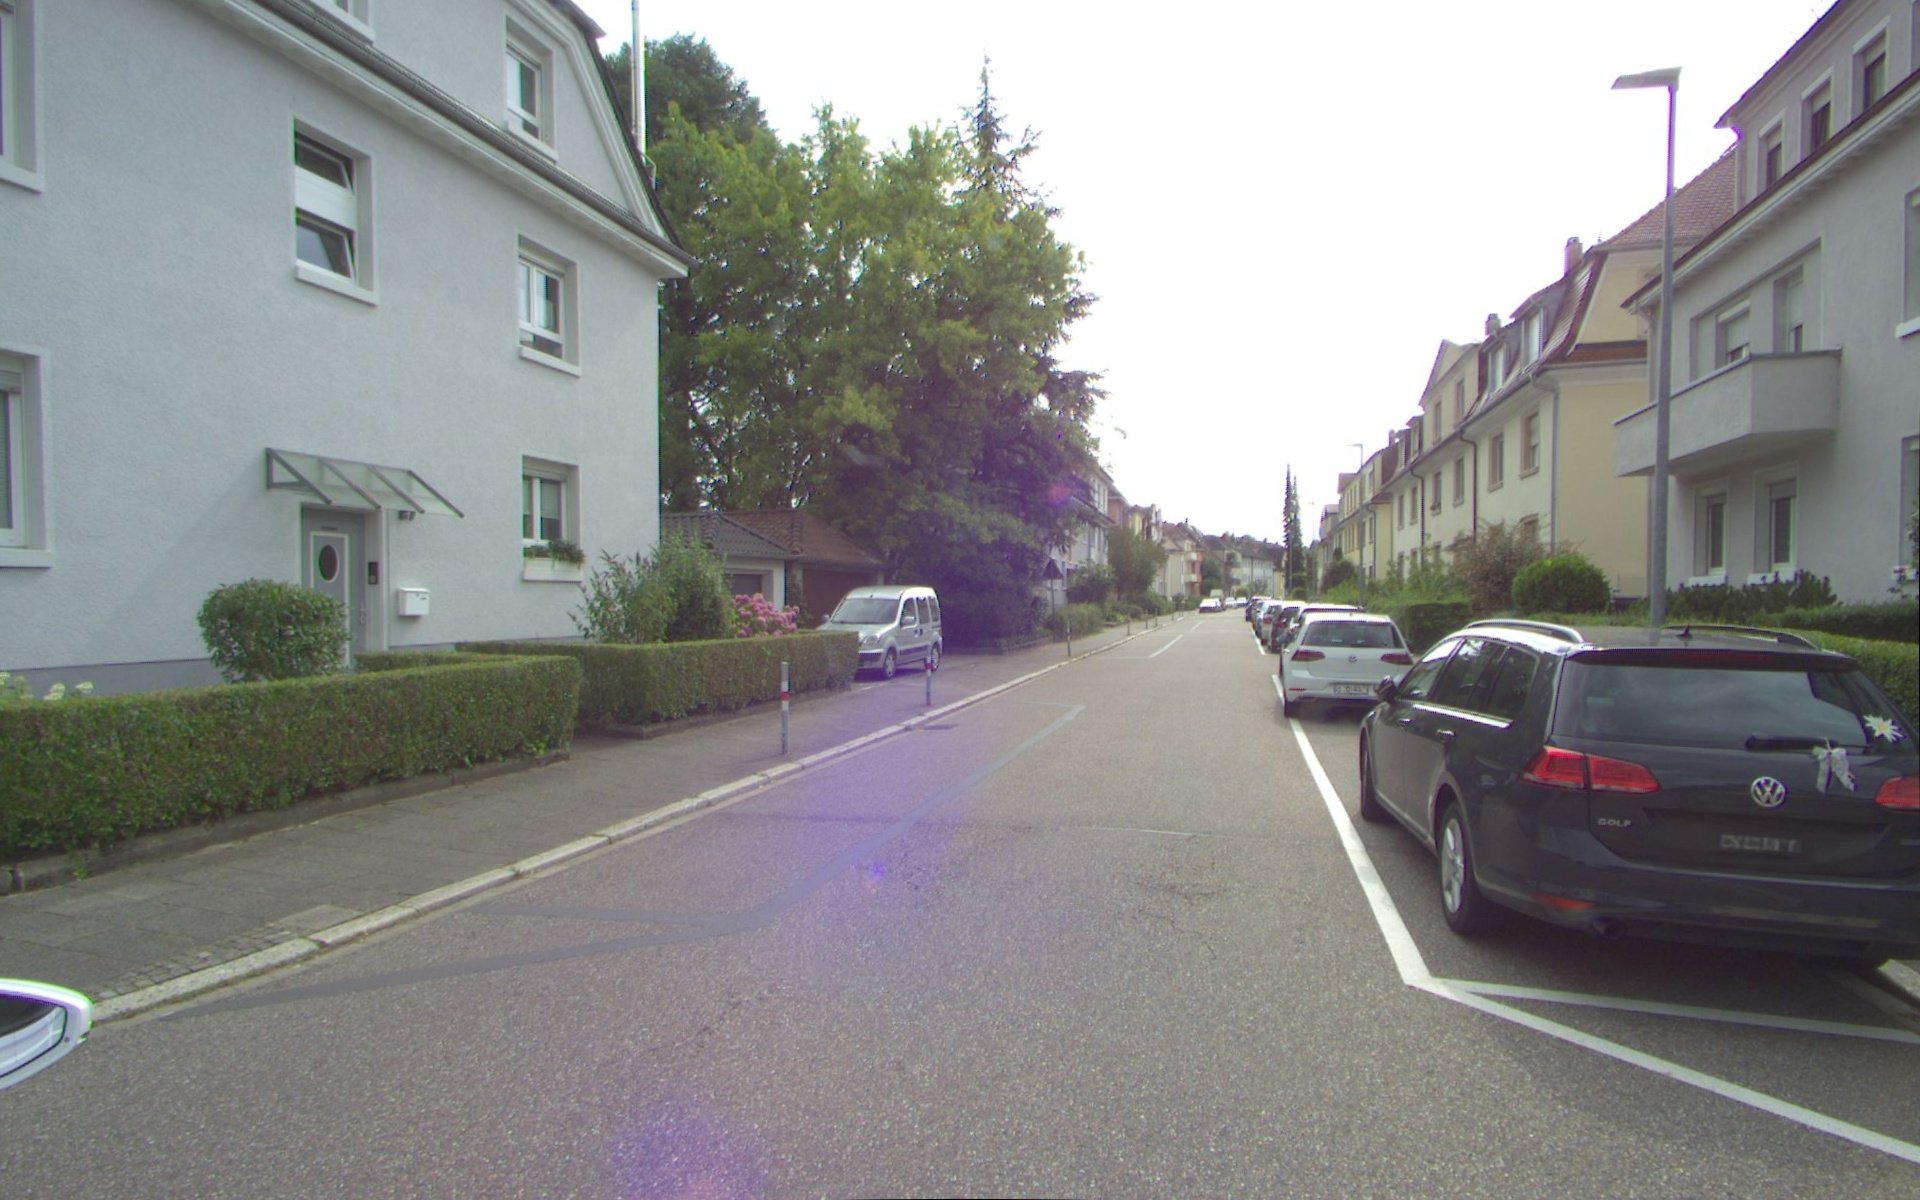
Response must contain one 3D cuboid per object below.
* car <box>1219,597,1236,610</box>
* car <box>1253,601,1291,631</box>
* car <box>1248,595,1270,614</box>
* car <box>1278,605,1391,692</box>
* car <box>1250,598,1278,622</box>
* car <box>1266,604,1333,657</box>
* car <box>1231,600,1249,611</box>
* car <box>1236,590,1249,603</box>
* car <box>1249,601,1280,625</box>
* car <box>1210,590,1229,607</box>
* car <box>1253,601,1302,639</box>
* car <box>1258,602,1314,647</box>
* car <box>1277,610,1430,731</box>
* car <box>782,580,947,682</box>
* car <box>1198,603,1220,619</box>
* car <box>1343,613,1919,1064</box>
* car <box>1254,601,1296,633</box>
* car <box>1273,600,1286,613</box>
[{"bbox_3d":[36.427,0.472,136.120,1.965,1.662,3.992,0,0,19],"label":"car"},{"bbox_3d":[16.315,0.821,52.409,1.826,1.491,4.168,0,0,17],"label":"car"},{"bbox_3d":[26.180,0.364,87.795,1.826,1.599,4.169,0,0,16],"label":"car"},{"bbox_3d":[7.292,0.869,19.825,1.826,1.491,4.168,0,0,17],"label":"car"},{"bbox_3d":[21.055,0.647,69.331,1.826,1.599,4.168,0,0,17],"label":"car"},{"bbox_3d":[10.443,0.886,31.013,1.826,1.491,4.168,0,0,17],"label":"car"},{"bbox_3d":[41.690,0.804,149.112,1.967,1.556,3.987,-1,0,24],"label":"car"},{"bbox_3d":[50.028,-0.643,177.360,1.965,2.152,3.992,0,0,19],"label":"car"},{"bbox_3d":[19.553,0.786,64.235,1.826,1.491,4.168,0,0,17],"label":"car"},{"bbox_3d":[31.037,-0.158,119.878,1.964,2.040,3.993,0,0,18],"label":"car"},{"bbox_3d":[13.298,0.807,42.033,1.826,1.491,4.168,0,0,17],"label":"car"},{"bbox_3d":[11.774,0.837,36.293,1.826,1.491,4.168,0,0,17],"label":"car"},{"bbox_3d":[5.758,0.931,15.104,1.826,1.491,4.168,0,0,17],"label":"car"},{"bbox_3d":[-1.815,0.563,20.391,1.964,1.862,3.993,0,0,17],"label":"car"},{"bbox_3d":[27.041,1.214,108.634,1.965,1.662,3.992,0,0,19],"label":"car"},{"bbox_3d":[3.426,0.848,5.544,1.825,1.491,4.171,0,0,12],"label":"car"},{"bbox_3d":[15.096,0.781,48.036,1.826,1.491,4.168,0,0,17],"label":"car"},{"bbox_3d":[53.309,1.071,167.212,1.964,2.040,3.849,-1,0,18],"label":"car"}]
